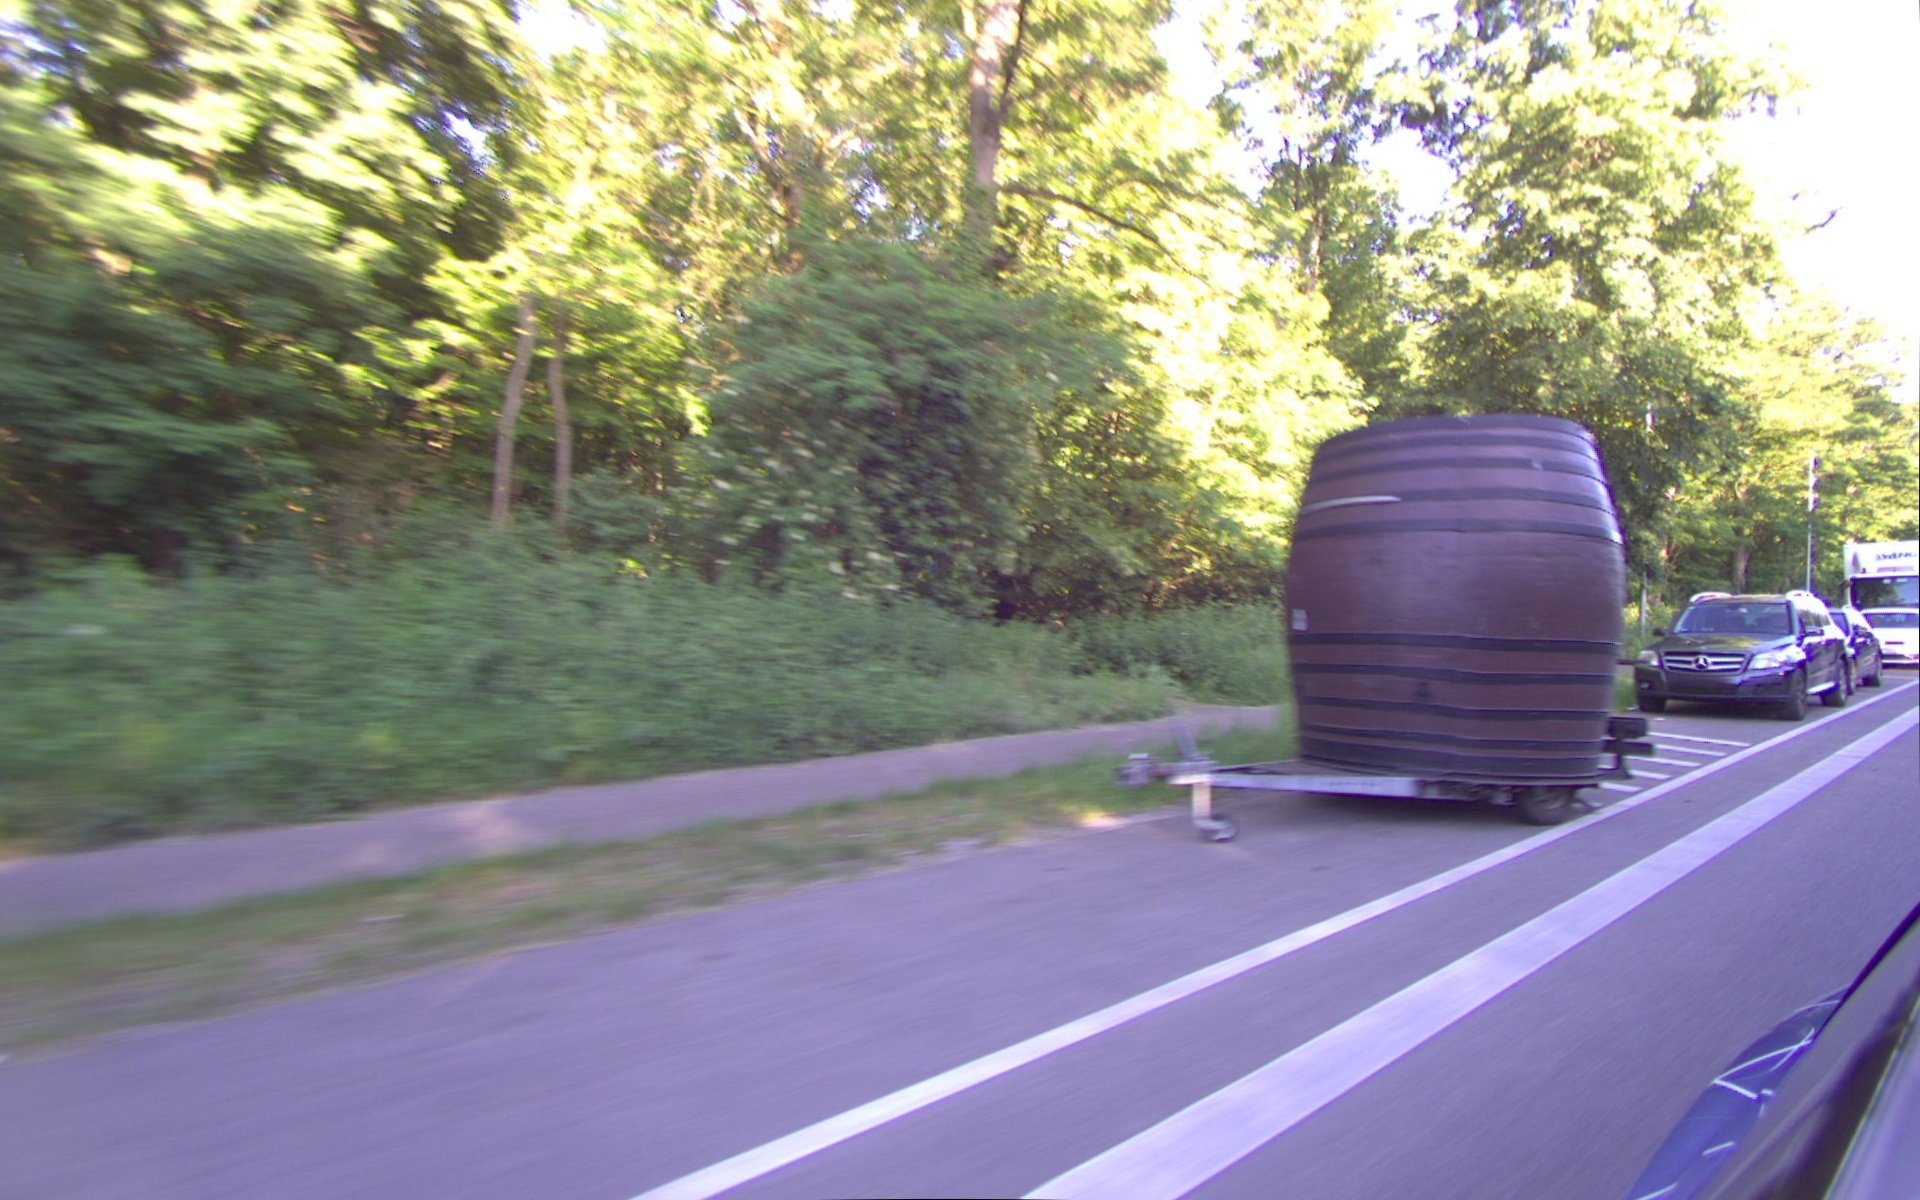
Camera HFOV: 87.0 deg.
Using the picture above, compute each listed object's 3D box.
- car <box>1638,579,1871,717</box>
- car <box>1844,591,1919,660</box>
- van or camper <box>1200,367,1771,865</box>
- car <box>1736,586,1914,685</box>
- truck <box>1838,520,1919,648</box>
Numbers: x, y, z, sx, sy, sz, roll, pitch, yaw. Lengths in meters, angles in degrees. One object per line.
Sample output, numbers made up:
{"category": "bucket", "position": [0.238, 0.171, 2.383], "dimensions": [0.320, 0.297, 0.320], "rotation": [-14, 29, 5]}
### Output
{"category": "car", "position": [11.476, 0.594, 14.504], "dimensions": [4.470, 1.686, 1.715], "rotation": [0, -1, -40]}
{"category": "car", "position": [23.092, 0.583, 24.717], "dimensions": [3.930, 1.588, 1.714], "rotation": [0, -1, -41]}
{"category": "van or camper", "position": [4.973, 0.086, 8.876], "dimensions": [6.446, 2.835, 2.443], "rotation": [0, -1, -43]}
{"category": "car", "position": [15.789, 0.583, 18.398], "dimensions": [4.470, 1.588, 1.715], "rotation": [0, -1, -40]}
{"category": "truck", "position": [29.497, -0.452, 31.058], "dimensions": [8.431, 3.541, 2.837], "rotation": [0, 1, -42]}
